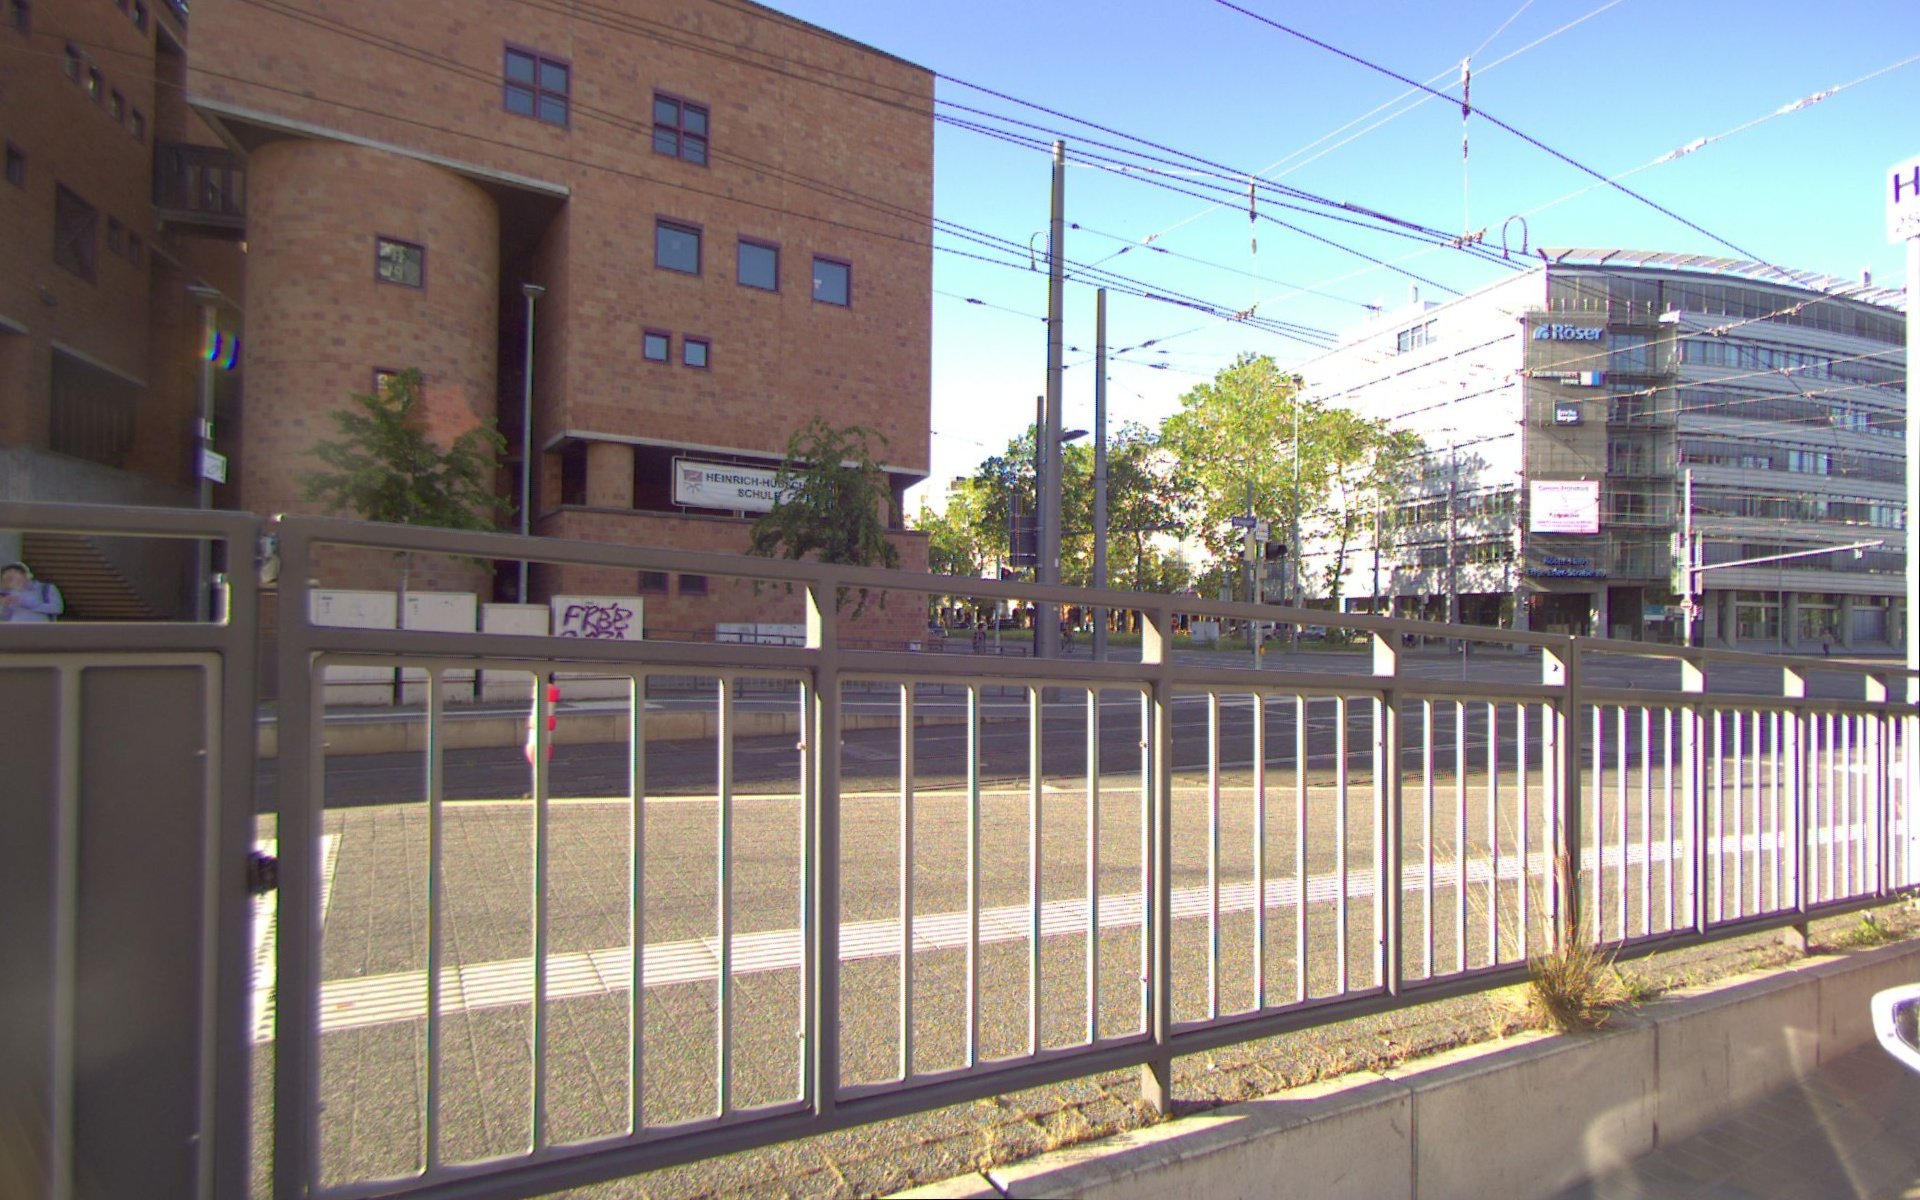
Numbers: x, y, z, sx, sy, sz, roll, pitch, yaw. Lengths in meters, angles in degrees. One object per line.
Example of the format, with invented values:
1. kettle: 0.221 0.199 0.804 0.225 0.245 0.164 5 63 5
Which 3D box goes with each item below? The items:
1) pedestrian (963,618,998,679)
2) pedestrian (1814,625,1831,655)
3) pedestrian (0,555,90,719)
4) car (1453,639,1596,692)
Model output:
1. pedestrian: 0.587 1.392 29.007 0.785 1.714 0.587 2 0 -29
2. pedestrian: 58.349 2.706 67.940 0.745 2.040 0.627 2 0 -30
3. pedestrian: -9.684 0.380 10.566 0.679 1.656 0.662 2 0 -34
4. car: 13.678 1.559 24.404 2.841 1.077 1.238 2 0 40
